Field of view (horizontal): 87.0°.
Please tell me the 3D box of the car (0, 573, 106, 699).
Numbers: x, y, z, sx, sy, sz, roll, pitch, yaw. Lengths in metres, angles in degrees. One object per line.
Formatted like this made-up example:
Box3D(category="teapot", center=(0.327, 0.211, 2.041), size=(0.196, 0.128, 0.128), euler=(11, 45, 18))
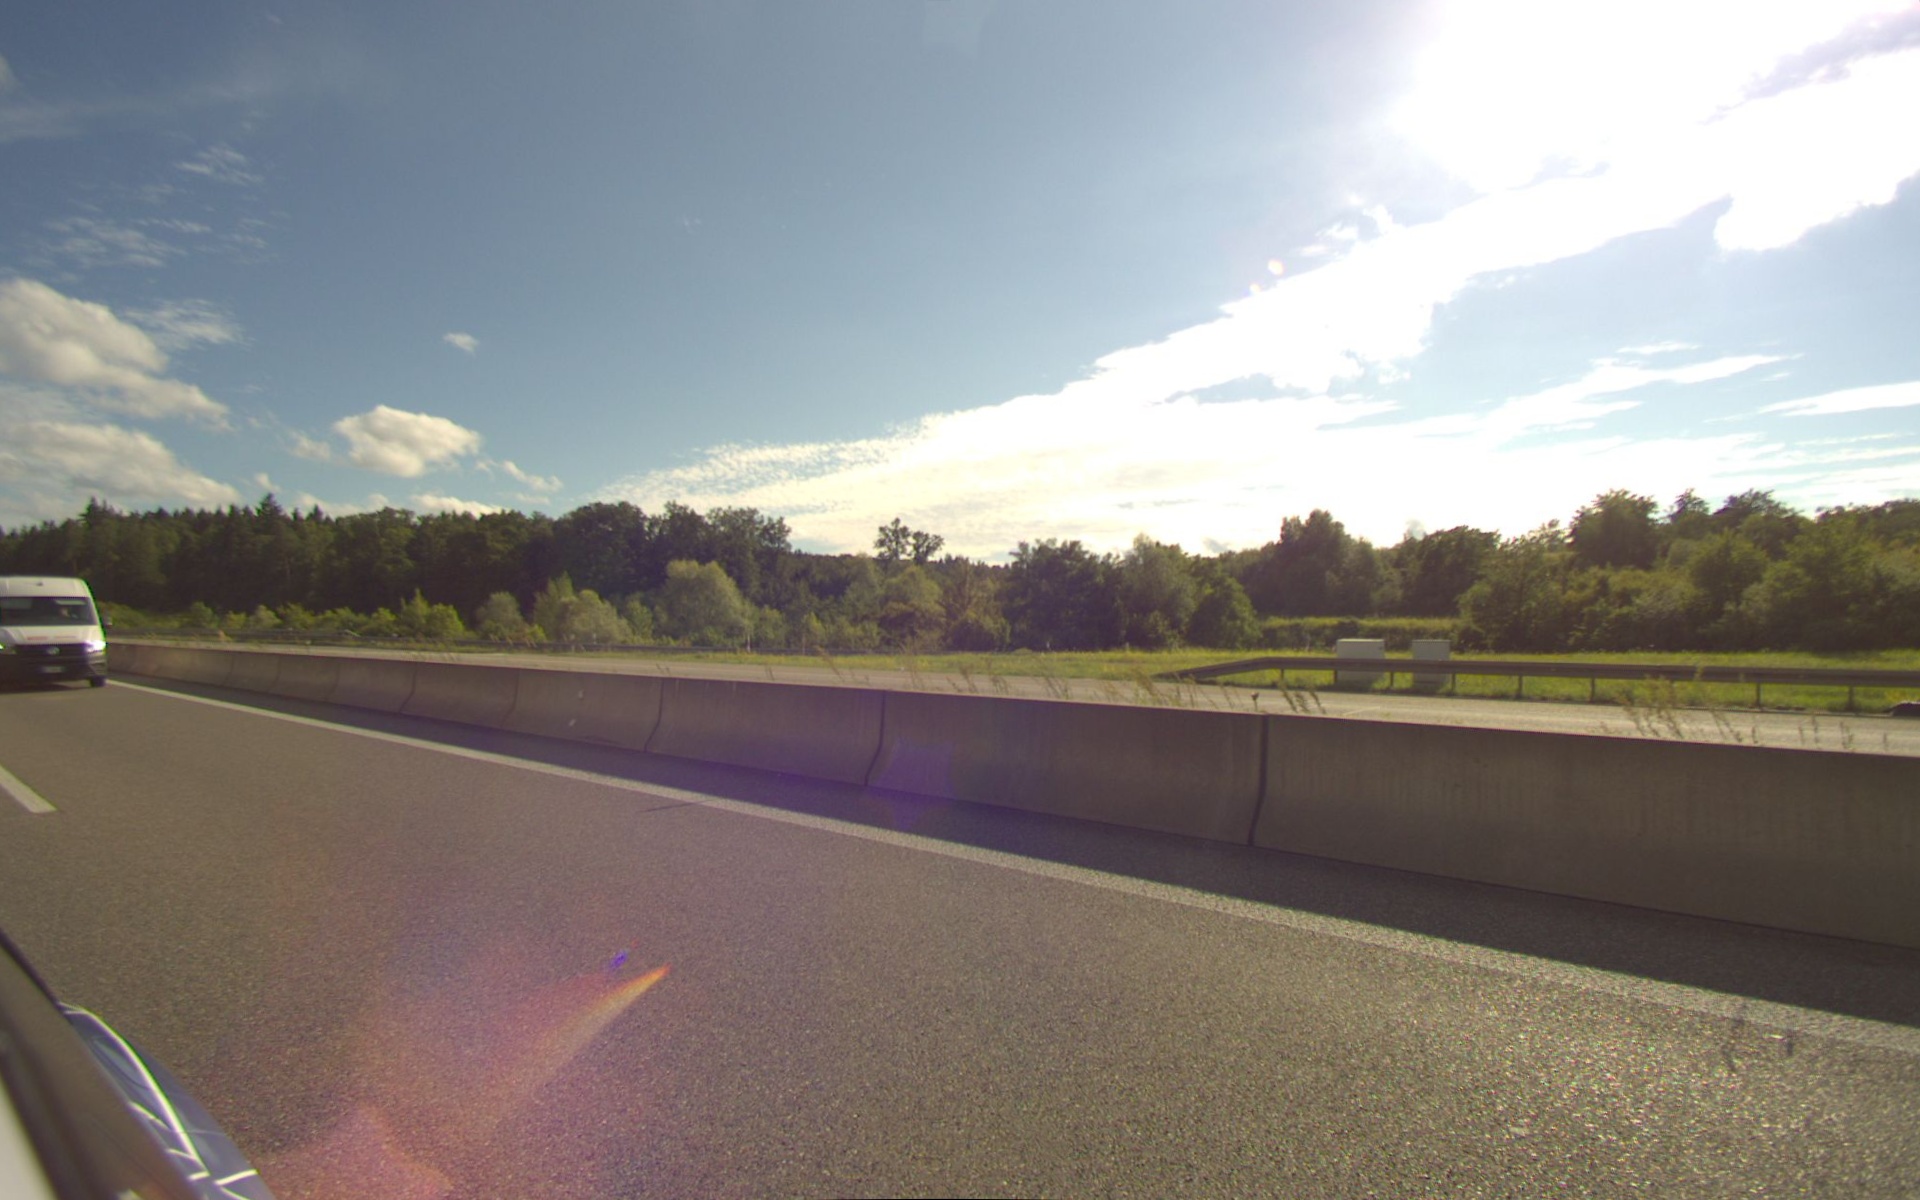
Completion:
Box3D(category="car", center=(-21.753, 0.795, 23.686), size=(6.182, 2.618, 1.993), euler=(-1, -1, 43))
